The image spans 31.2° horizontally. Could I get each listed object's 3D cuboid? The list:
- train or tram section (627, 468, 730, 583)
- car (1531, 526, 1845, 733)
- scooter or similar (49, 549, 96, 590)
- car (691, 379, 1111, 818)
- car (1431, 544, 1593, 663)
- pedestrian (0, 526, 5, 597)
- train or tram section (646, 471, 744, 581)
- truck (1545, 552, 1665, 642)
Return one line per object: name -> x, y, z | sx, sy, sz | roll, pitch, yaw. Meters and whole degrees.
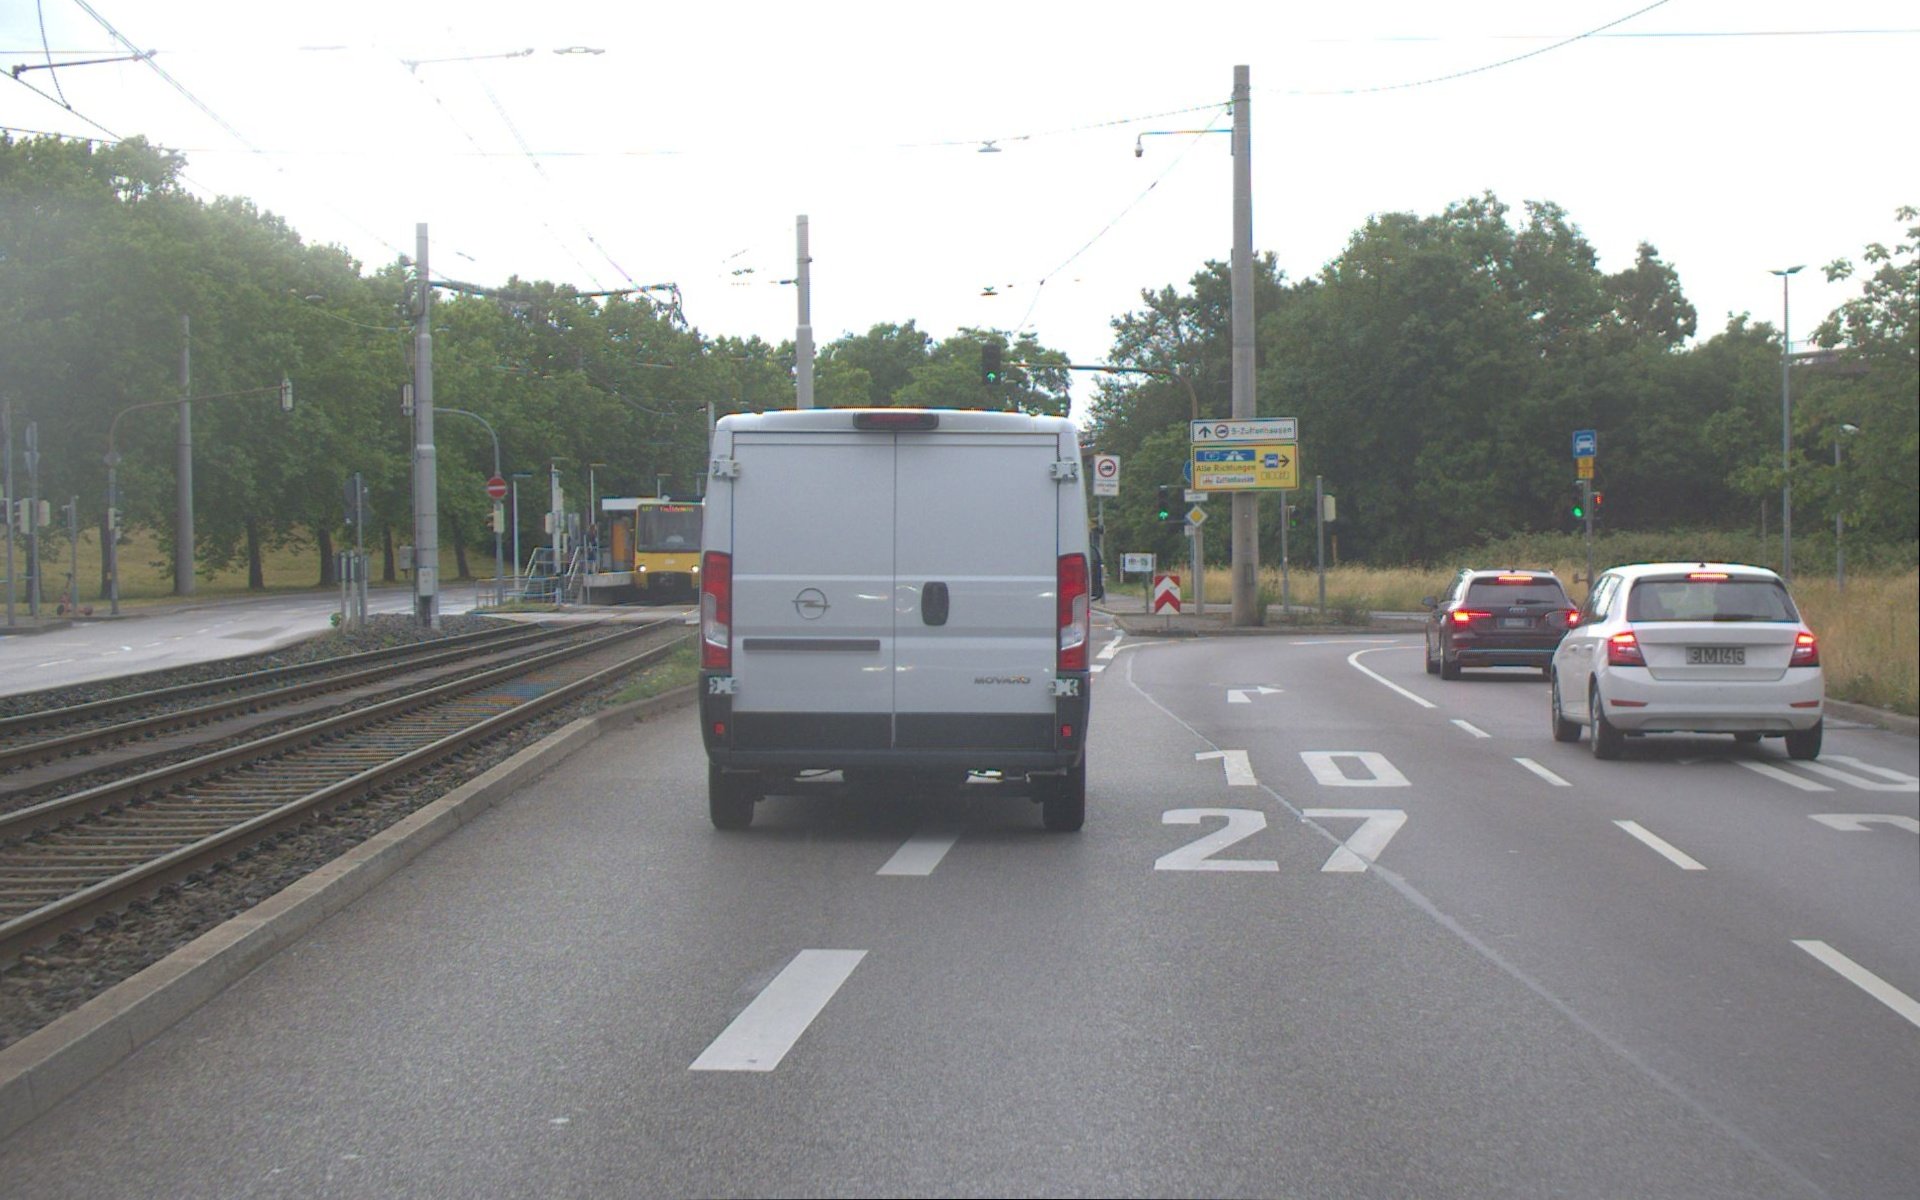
train or tram section -> -10.004, -2.648, 122.832 | 2.928, 3.919, 7.005 | 2, 1, 1
car -> 5.543, 0.174, 26.584 | 1.746, 1.452, 3.671 | 1, 1, 2
scooter or similar -> -25.775, -0.902, 99.831 | 0.380, 1.157, 1.277 | 1, 2, 45
car -> -0.335, -0.078, 19.963 | 2.090, 2.189, 5.061 | 1, 2, -1
car -> 7.084, 0.011, 44.421 | 1.790, 1.444, 3.999 | 1, 1, 5
pedestrian -> -24.380, -0.979, 86.252 | 0.506, 1.781, 0.832 | 2, 1, 4
train or tram section -> -9.907, -2.772, 129.268 | 2.928, 3.919, 7.005 | 2, 1, 1
truck -> 13.861, -0.093, 73.731 | 1.995, 1.784, 4.411 | -1, 2, 17
